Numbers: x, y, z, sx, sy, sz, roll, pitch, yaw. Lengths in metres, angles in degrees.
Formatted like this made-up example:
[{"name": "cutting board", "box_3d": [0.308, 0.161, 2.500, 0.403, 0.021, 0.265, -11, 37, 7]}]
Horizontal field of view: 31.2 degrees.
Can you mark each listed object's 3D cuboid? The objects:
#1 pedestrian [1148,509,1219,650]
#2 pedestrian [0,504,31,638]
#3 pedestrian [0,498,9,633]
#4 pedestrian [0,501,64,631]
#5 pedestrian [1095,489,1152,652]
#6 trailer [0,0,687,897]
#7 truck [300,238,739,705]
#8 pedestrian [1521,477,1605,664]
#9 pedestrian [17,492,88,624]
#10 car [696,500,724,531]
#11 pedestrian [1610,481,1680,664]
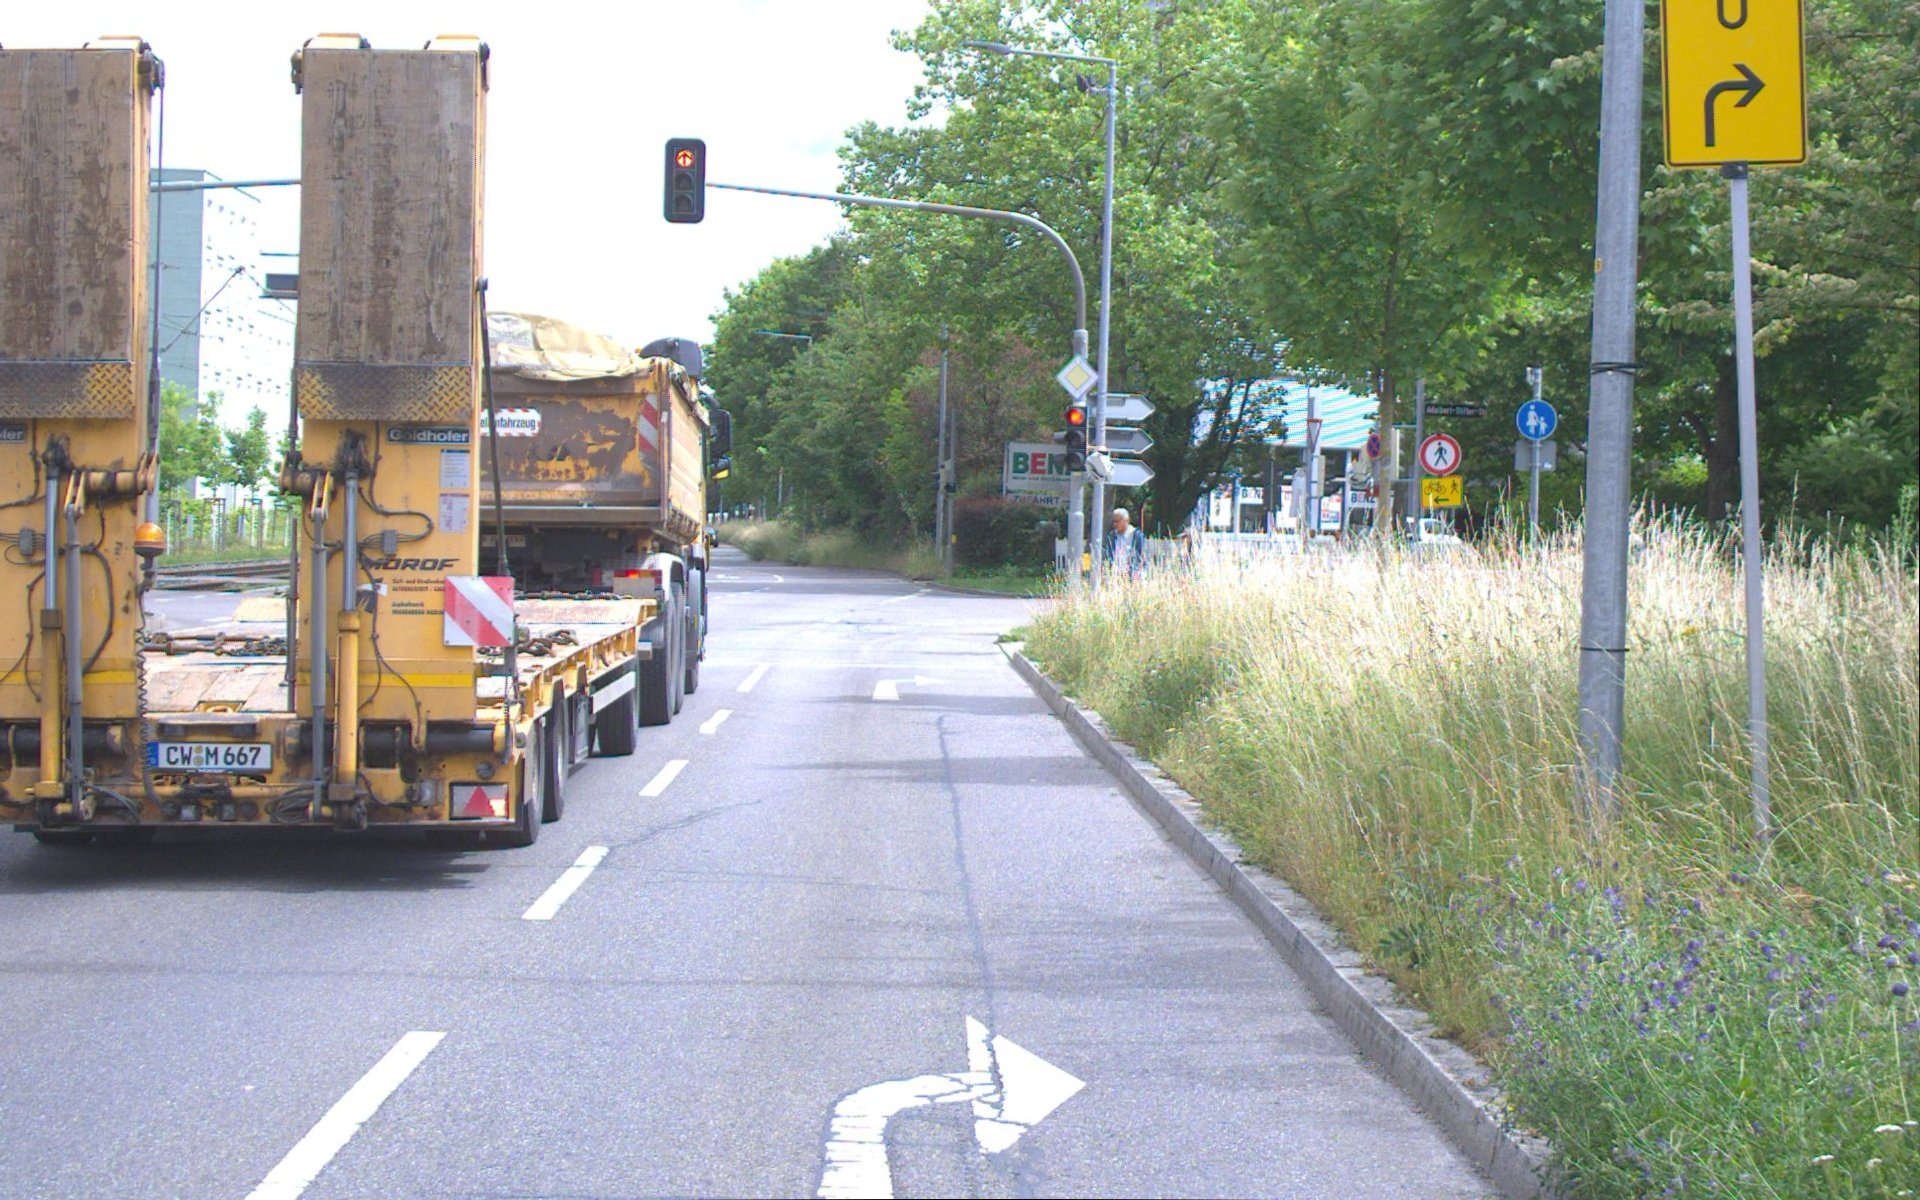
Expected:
[{"name": "pedestrian", "box_3d": [2.659, -0.245, 40.893, 0.628, 1.647, 0.562, 2, 1, 25]}, {"name": "pedestrian", "box_3d": [-11.670, -0.362, 41.475, 0.681, 1.597, 0.823, 2, 1, -2]}, {"name": "pedestrian", "box_3d": [-11.673, -0.408, 40.547, 0.681, 1.597, 0.823, 2, 1, -2]}, {"name": "pedestrian", "box_3d": [-11.699, -0.440, 43.161, 0.681, 1.597, 0.823, 2, 1, -2]}, {"name": "pedestrian", "box_3d": [2.036, -0.373, 42.843, 0.561, 2.007, 0.492, 1, 1, -10]}, {"name": "trailer", "box_3d": [-3.277, -0.785, 19.315, 2.729, 3.546, 11.255, 2, 2, -1]}, {"name": "truck", "box_3d": [-3.466, -1.047, 29.113, 2.753, 3.302, 8.353, 2, 2, -1]}, {"name": "pedestrian", "box_3d": [6.569, -0.321, 37.471, 0.671, 2.007, 0.635, 1, 1, -10]}, {"name": "pedestrian", "box_3d": [-11.657, -0.544, 44.162, 0.681, 1.664, 0.823, 2, 1, -2]}, {"name": "car", "box_3d": [-16.364, -5.551, 224.987, 1.689, 1.919, 4.001, 2, 2, -6]}, {"name": "pedestrian", "box_3d": [7.592, -0.308, 38.093, 0.561, 2.007, 0.492, 1, 1, -10]}]
